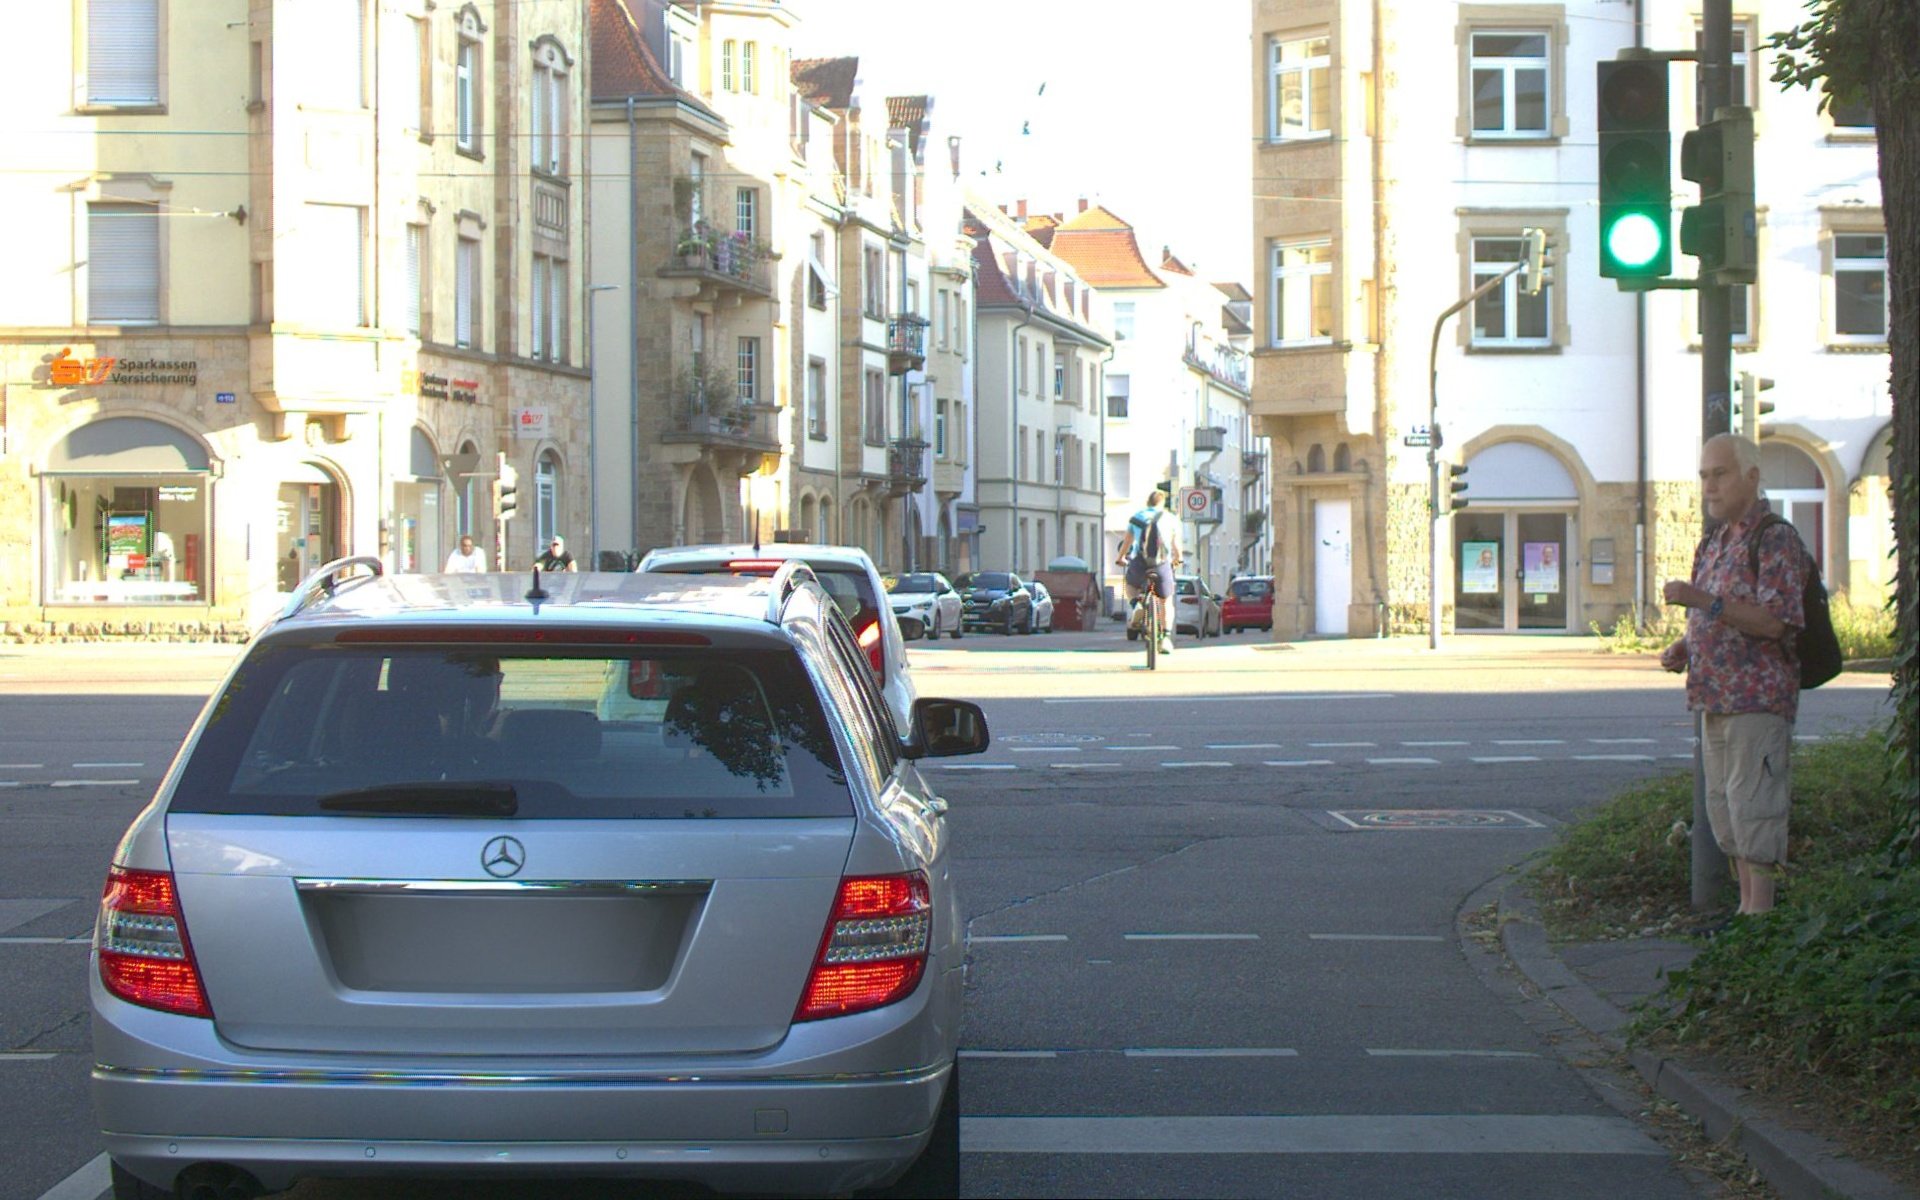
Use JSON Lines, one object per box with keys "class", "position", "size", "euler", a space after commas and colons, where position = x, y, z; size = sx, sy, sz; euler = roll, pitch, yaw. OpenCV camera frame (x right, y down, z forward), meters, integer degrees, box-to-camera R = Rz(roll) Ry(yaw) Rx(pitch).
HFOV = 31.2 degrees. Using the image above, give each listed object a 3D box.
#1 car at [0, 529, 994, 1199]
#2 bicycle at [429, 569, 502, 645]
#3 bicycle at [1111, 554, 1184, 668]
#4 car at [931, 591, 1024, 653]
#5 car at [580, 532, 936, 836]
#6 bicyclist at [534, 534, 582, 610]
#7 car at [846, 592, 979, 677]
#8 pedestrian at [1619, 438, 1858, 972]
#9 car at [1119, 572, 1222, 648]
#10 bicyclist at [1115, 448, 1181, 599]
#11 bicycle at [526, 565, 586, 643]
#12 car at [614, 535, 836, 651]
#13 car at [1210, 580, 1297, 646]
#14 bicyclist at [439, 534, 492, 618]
{"class": "car", "position": [-0.843, 0.609, 8.058], "size": [1.732, 1.472, 4.172], "euler": [1, 0, -1]}
{"class": "bicycle", "position": [-7.356, 0.092, 51.233], "size": [0.650, 1.101, 2.552], "euler": [1, 0, 1]}
{"class": "bicycle", "position": [1.873, 0.097, 34.583], "size": [0.619, 1.101, 2.552], "euler": [1, 0, 1]}
{"class": "car", "position": [0.503, 0.580, 93.070], "size": [1.831, 1.610, 3.998], "euler": [1, 0, 10]}
{"class": "car", "position": [-1.018, 0.399, 18.861], "size": [1.732, 1.475, 3.815], "euler": [1, 0, -1]}
{"class": "bicyclist", "position": [-6.146, -0.426, 52.614], "size": [0.610, 1.154, 0.767], "euler": [1, 0, 1]}
{"class": "car", "position": [-0.963, 0.693, 71.759], "size": [1.831, 1.700, 3.998], "euler": [1, 0, 13]}
{"class": "pedestrian", "position": [2.707, 0.351, 12.005], "size": [0.700, 1.800, 0.666], "euler": [1, 0, 5]}
{"class": "car", "position": [4.707, 0.204, 76.291], "size": [1.831, 1.610, 3.998], "euler": [1, 0, 10]}
{"class": "bicyclist", "position": [1.884, -0.761, 34.579], "size": [0.610, 1.488, 0.767], "euler": [1, 0, 1]}
{"class": "bicycle", "position": [-6.150, 0.045, 52.369], "size": [0.650, 1.101, 1.924], "euler": [1, 2, 1]}
{"class": "car", "position": [-4.005, -0.128, 59.255], "size": [1.917, 1.893, 4.303], "euler": [1, 0, 26]}
{"class": "car", "position": [7.887, 0.325, 92.235], "size": [1.831, 1.700, 3.998], "euler": [1, 0, 12]}
{"class": "bicyclist", "position": [-7.356, -0.353, 51.165], "size": [0.658, 1.232, 0.767], "euler": [1, 0, 1]}
